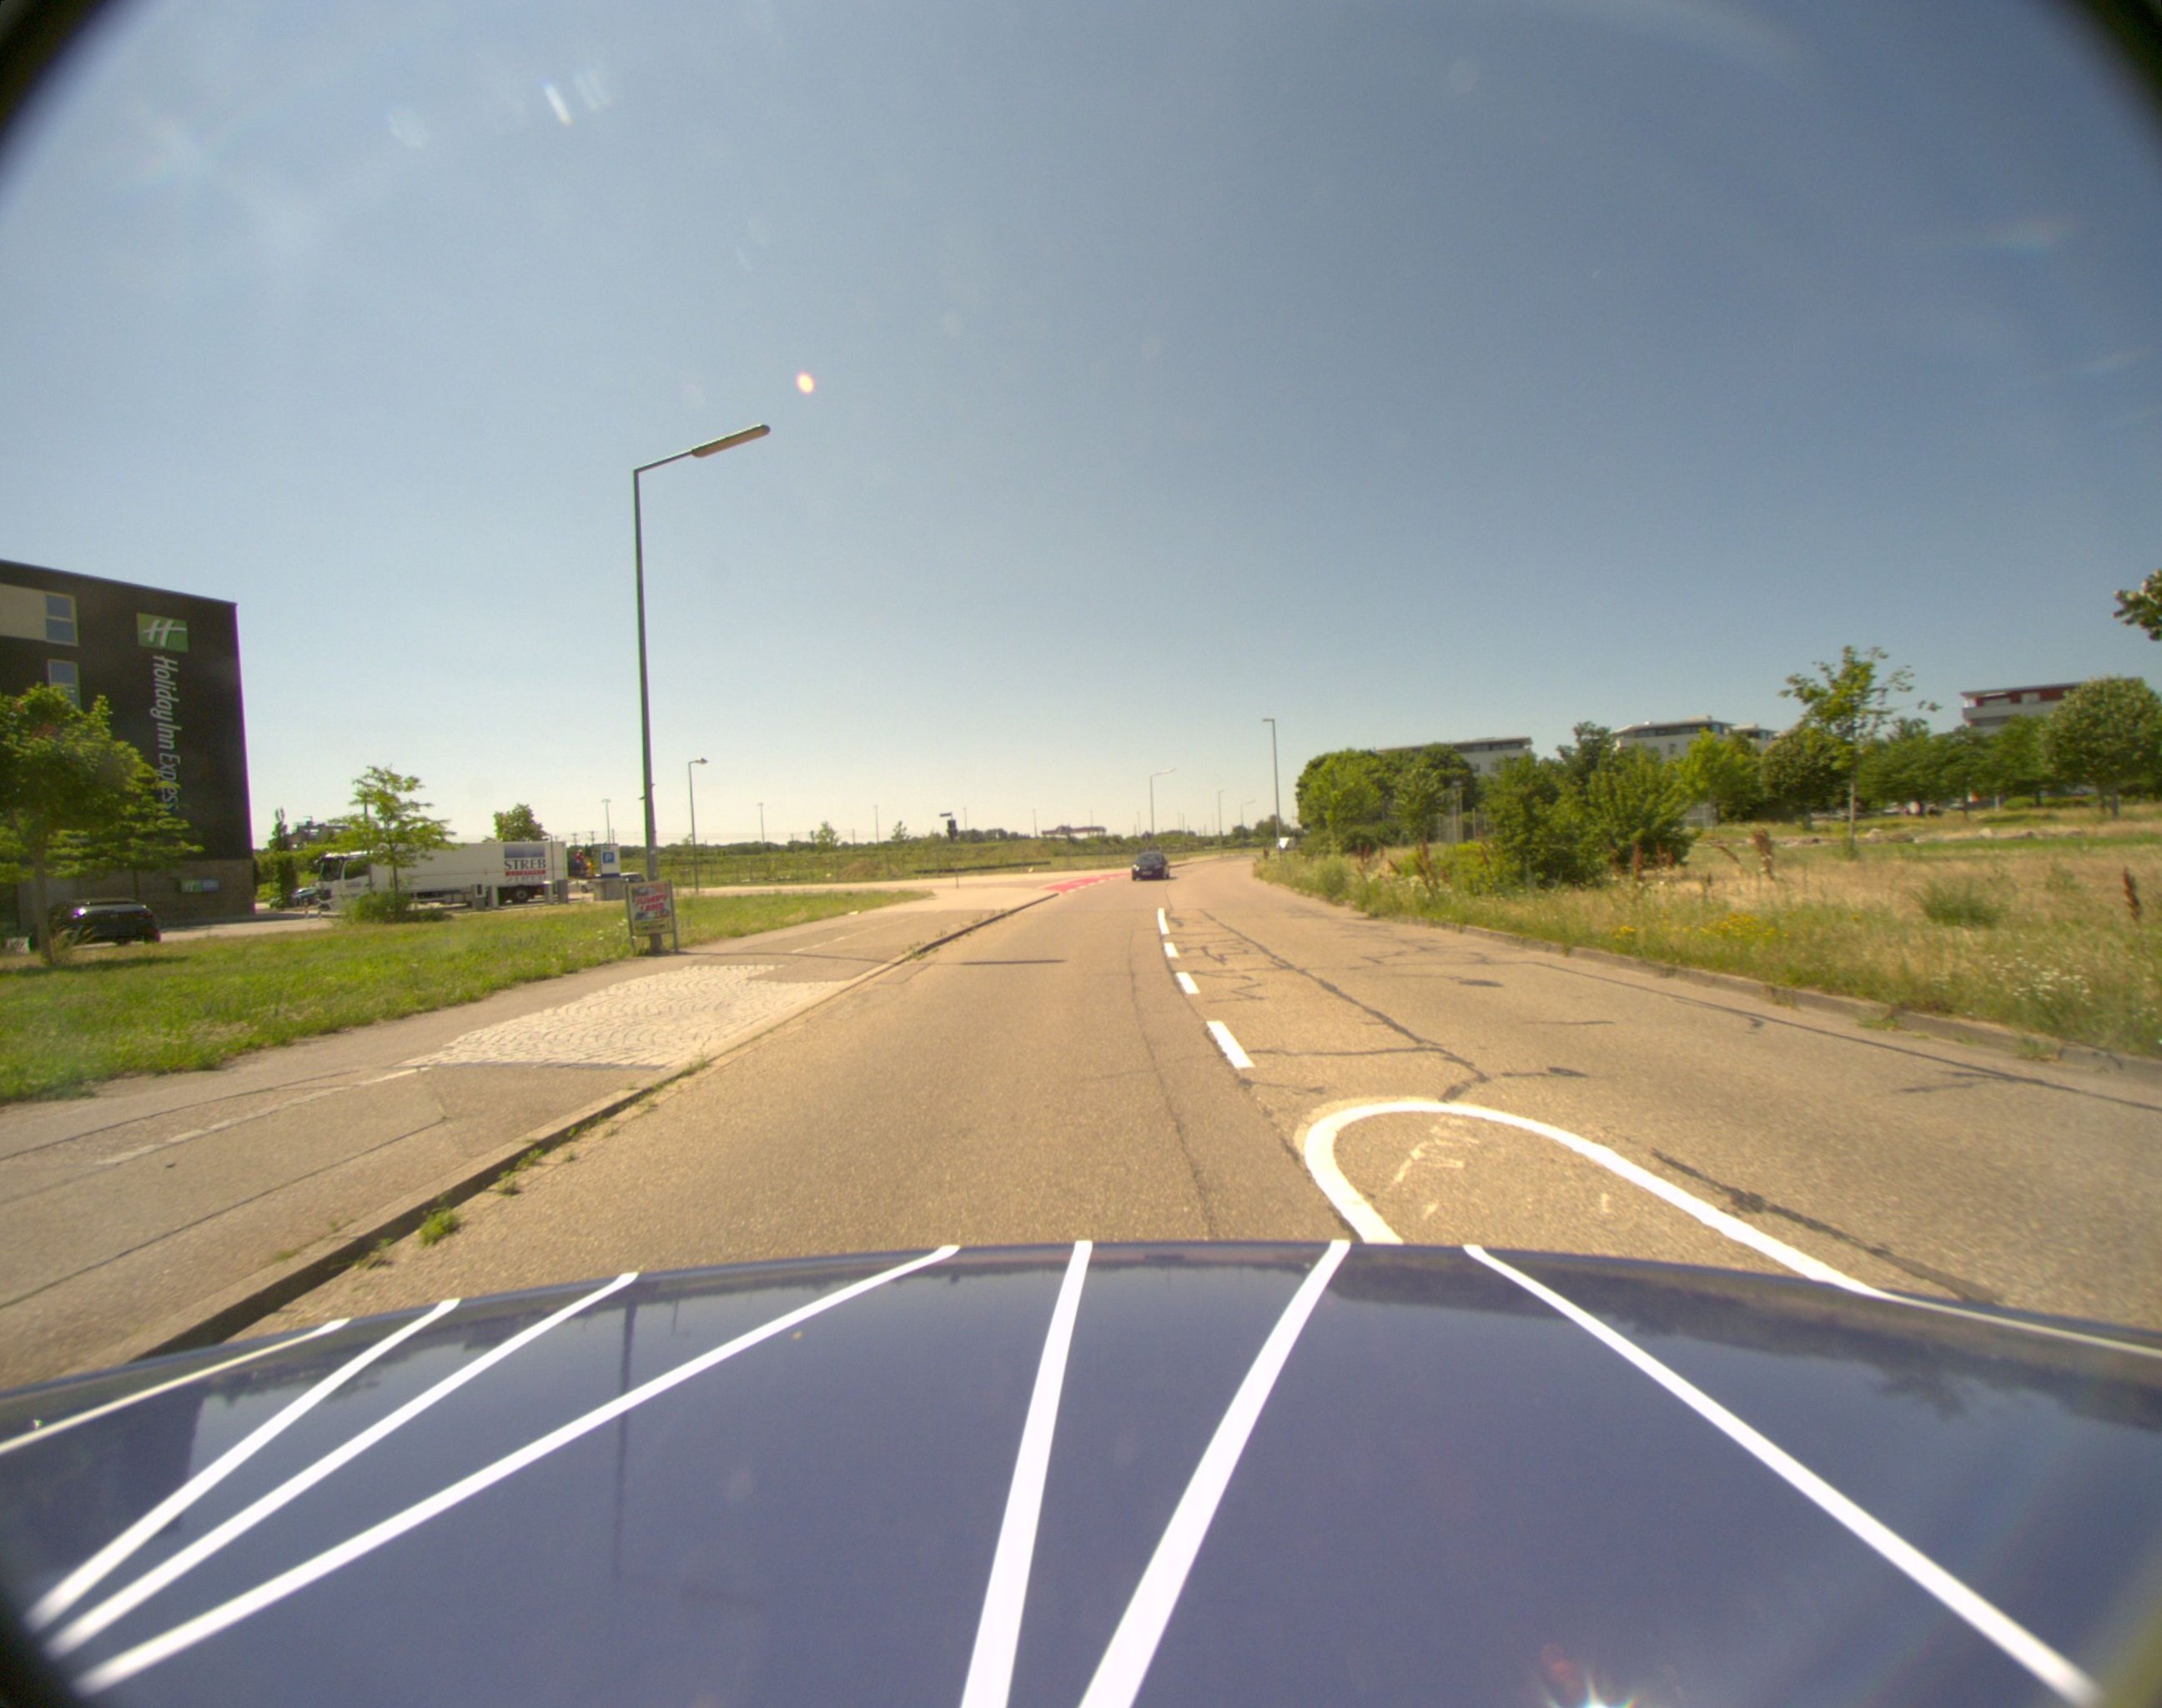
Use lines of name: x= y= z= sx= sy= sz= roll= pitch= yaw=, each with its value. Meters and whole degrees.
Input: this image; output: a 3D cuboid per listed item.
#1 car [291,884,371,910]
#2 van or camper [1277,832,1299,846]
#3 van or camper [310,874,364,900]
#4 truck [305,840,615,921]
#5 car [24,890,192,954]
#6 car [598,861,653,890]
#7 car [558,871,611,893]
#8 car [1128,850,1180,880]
car: x=-58.456 y=3.342 z=59.280 sx=1.671 sy=1.690 sz=4.024 roll=-2 pitch=0 yaw=26
van or camper: x=38.980 y=-2.840 z=143.081 sx=2.137 sy=2.558 sz=5.877 roll=-3 pitch=0 yaw=34
van or camper: x=-80.439 y=3.526 z=82.116 sx=5.423 sy=2.520 sz=2.408 roll=-3 pitch=1 yaw=27
truck: x=-31.539 y=1.091 z=39.732 sx=3.010 sy=3.442 sz=12.159 roll=-1 pitch=1 yaw=29
car: x=-27.985 y=1.916 z=21.838 sx=4.497 sy=1.553 sz=2.035 roll=-3 pitch=0 yaw=26
car: x=-35.029 y=1.645 z=58.381 sx=3.906 sy=2.002 sz=1.884 roll=-3 pitch=1 yaw=30
car: x=-39.746 y=2.251 z=60.801 sx=4.034 sy=1.548 sz=1.752 roll=-3 pitch=0 yaw=28
car: x=3.959 y=0.557 z=40.616 sx=1.651 sy=1.458 sz=4.165 roll=-2 pitch=0 yaw=21
